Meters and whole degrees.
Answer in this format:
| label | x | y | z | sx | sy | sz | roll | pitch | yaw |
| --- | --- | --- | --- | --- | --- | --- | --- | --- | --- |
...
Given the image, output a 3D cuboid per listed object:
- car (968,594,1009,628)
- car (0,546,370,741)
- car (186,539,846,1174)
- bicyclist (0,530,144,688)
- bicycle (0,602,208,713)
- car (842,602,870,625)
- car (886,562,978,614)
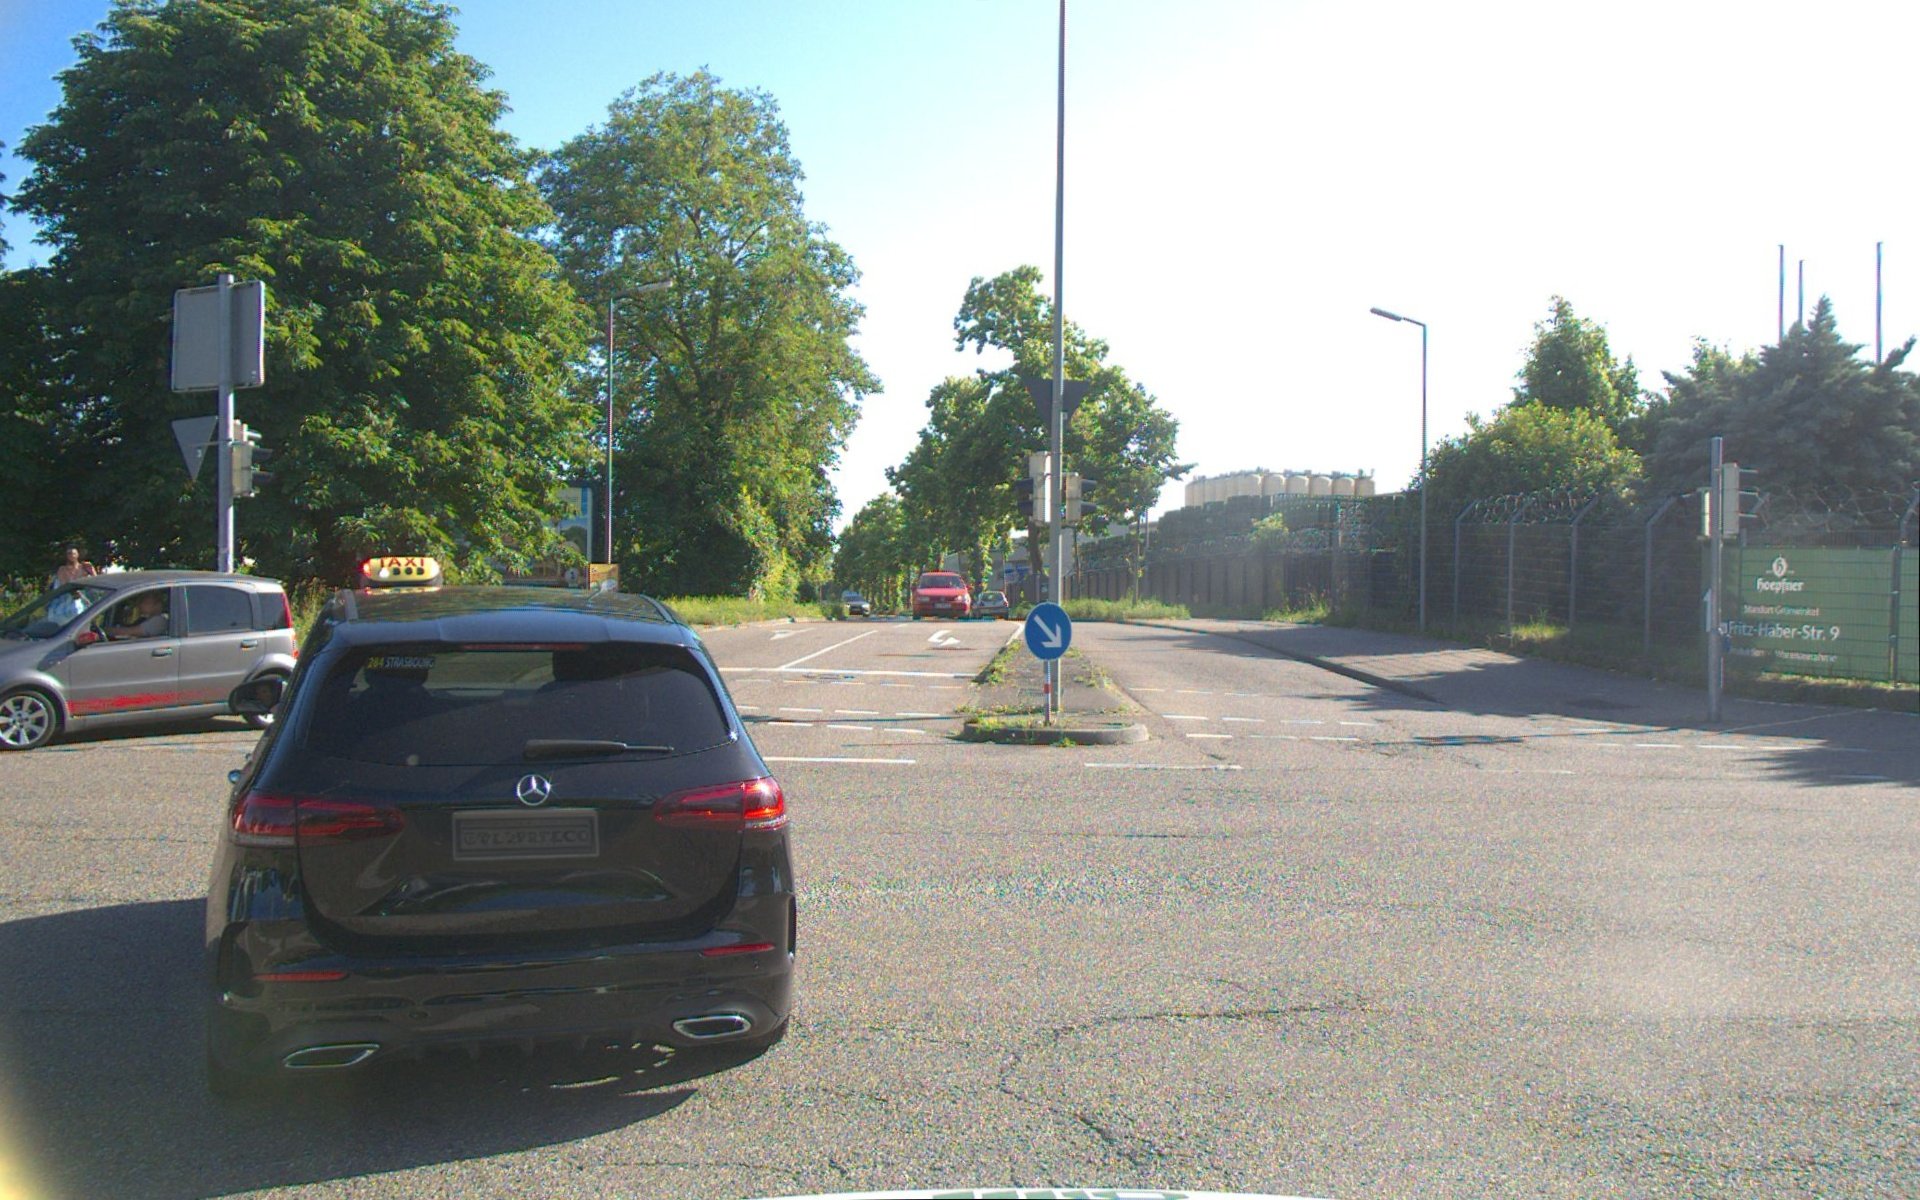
| label | x | y | z | sx | sy | sz | roll | pitch | yaw |
| --- | --- | --- | --- | --- | --- | --- | --- | --- | --- |
| car | 1.444 | 0.556 | 84.147 | 1.657 | 1.660 | 3.126 | 0 | 0 | -7 |
| car | -7.941 | 0.369 | 15.882 | 1.775 | 1.668 | 3.982 | 0 | 0 | 38 |
| car | -1.801 | 0.657 | 6.406 | 1.743 | 1.620 | 3.967 | 0 | 0 | -19 |
| bicyclist | -10.055 | 0.092 | 18.699 | 1.161 | 1.722 | 0.892 | 1 | -1 | 19 |
| bicycle | -9.986 | 0.620 | 18.666 | 2.882 | 1.145 | 0.903 | 1 | 0 | 19 |
| car | -6.889 | 0.897 | 109.443 | 1.821 | 1.495 | 4.135 | 0 | 0 | -4 |
| car | -0.911 | -0.353 | 50.129 | 1.827 | 1.495 | 4.121 | 0 | 0 | -16 |
